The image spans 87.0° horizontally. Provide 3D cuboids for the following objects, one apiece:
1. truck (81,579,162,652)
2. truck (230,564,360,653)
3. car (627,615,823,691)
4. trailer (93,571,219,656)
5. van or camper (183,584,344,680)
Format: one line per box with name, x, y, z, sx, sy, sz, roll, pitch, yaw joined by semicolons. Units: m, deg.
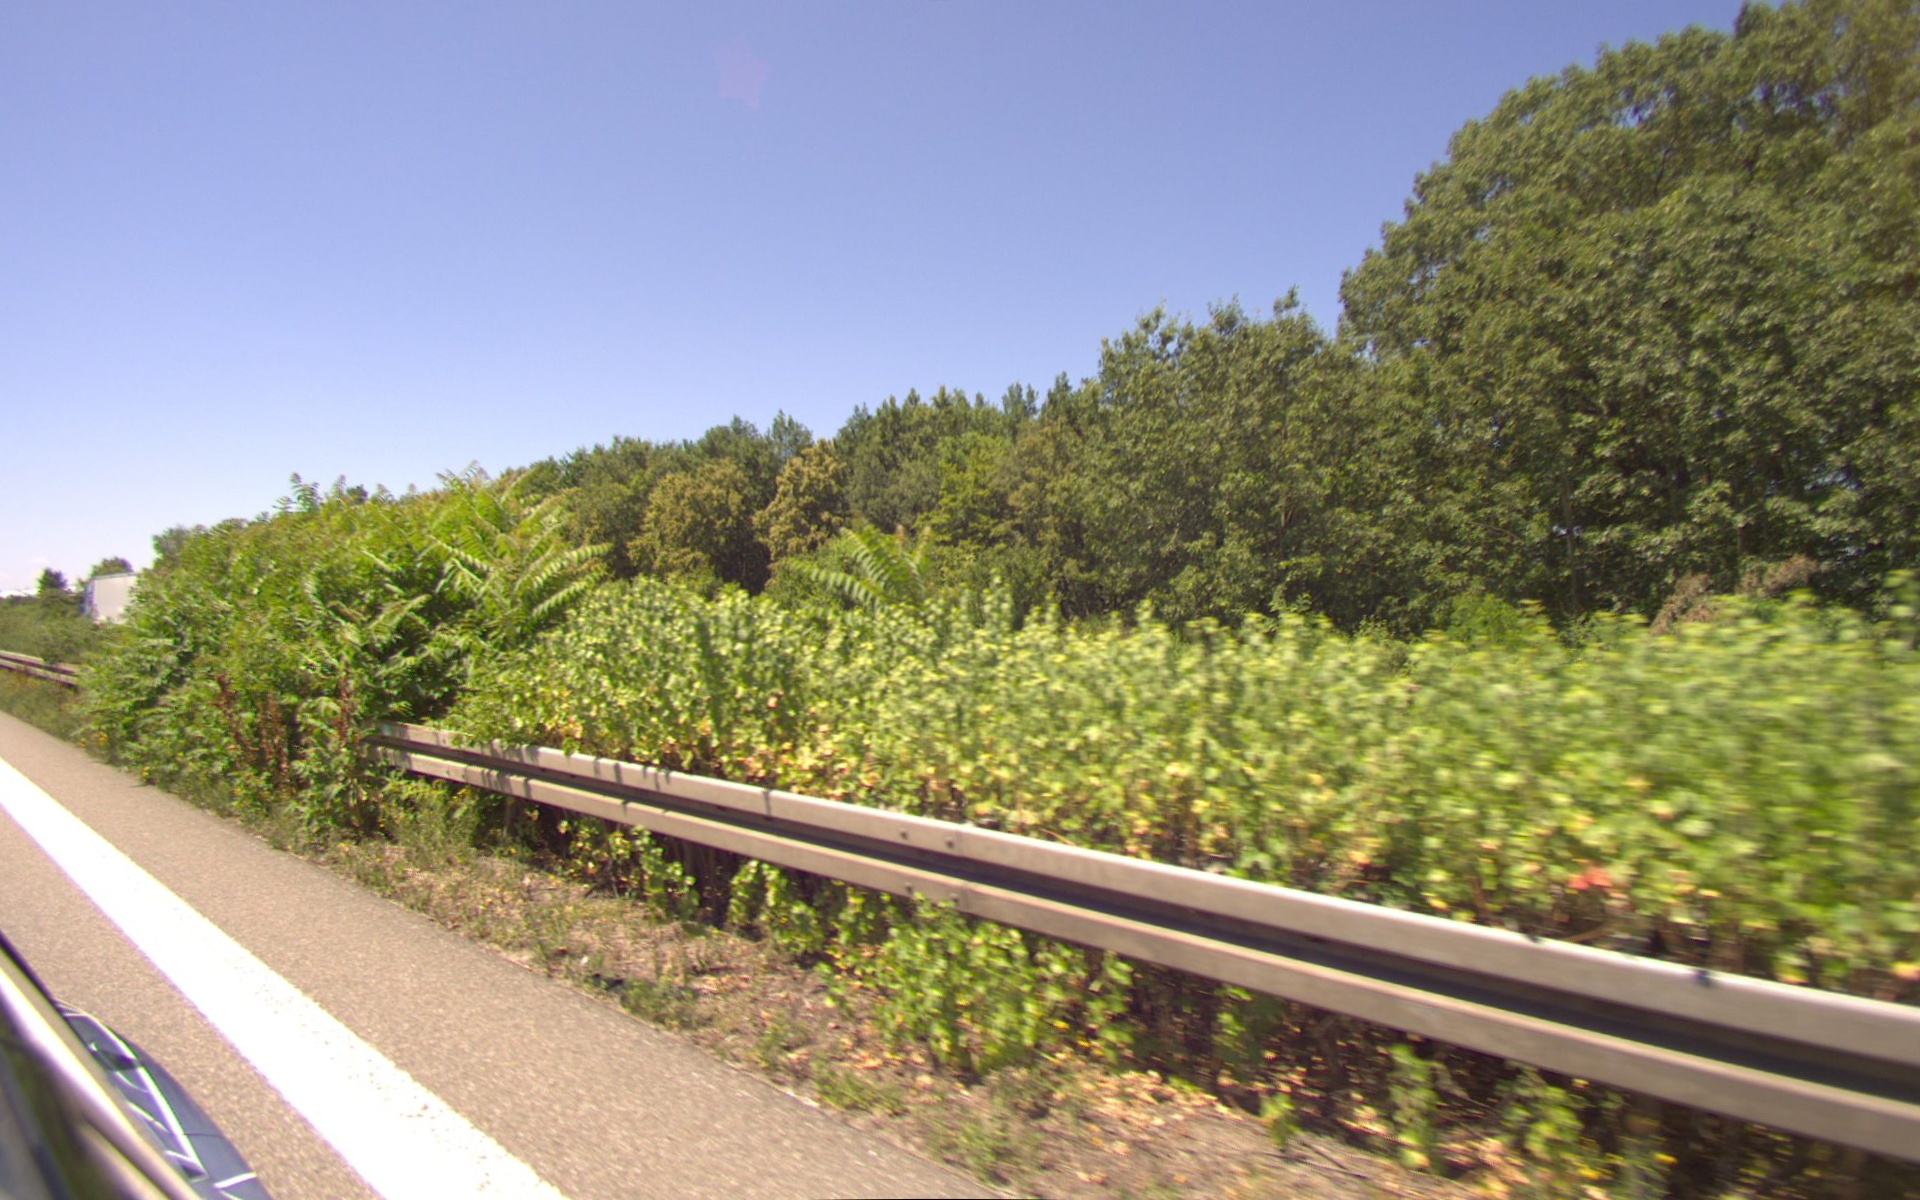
truck;-48.768;0.915;58.836;4.997;4.040;2.840;-1;-2;41
truck;-34.255;0.492;51.907;9.995;4.145;2.982;-1;-2;41
car;-4.704;0.979;20.011;3.998;1.348;1.775;-1;-1;41
trailer;-43.095;0.761;53.987;13.510;4.040;2.840;-1;-2;41
van or camper;-19.522;0.854;28.190;6.996;2.388;1.973;-1;-2;41
